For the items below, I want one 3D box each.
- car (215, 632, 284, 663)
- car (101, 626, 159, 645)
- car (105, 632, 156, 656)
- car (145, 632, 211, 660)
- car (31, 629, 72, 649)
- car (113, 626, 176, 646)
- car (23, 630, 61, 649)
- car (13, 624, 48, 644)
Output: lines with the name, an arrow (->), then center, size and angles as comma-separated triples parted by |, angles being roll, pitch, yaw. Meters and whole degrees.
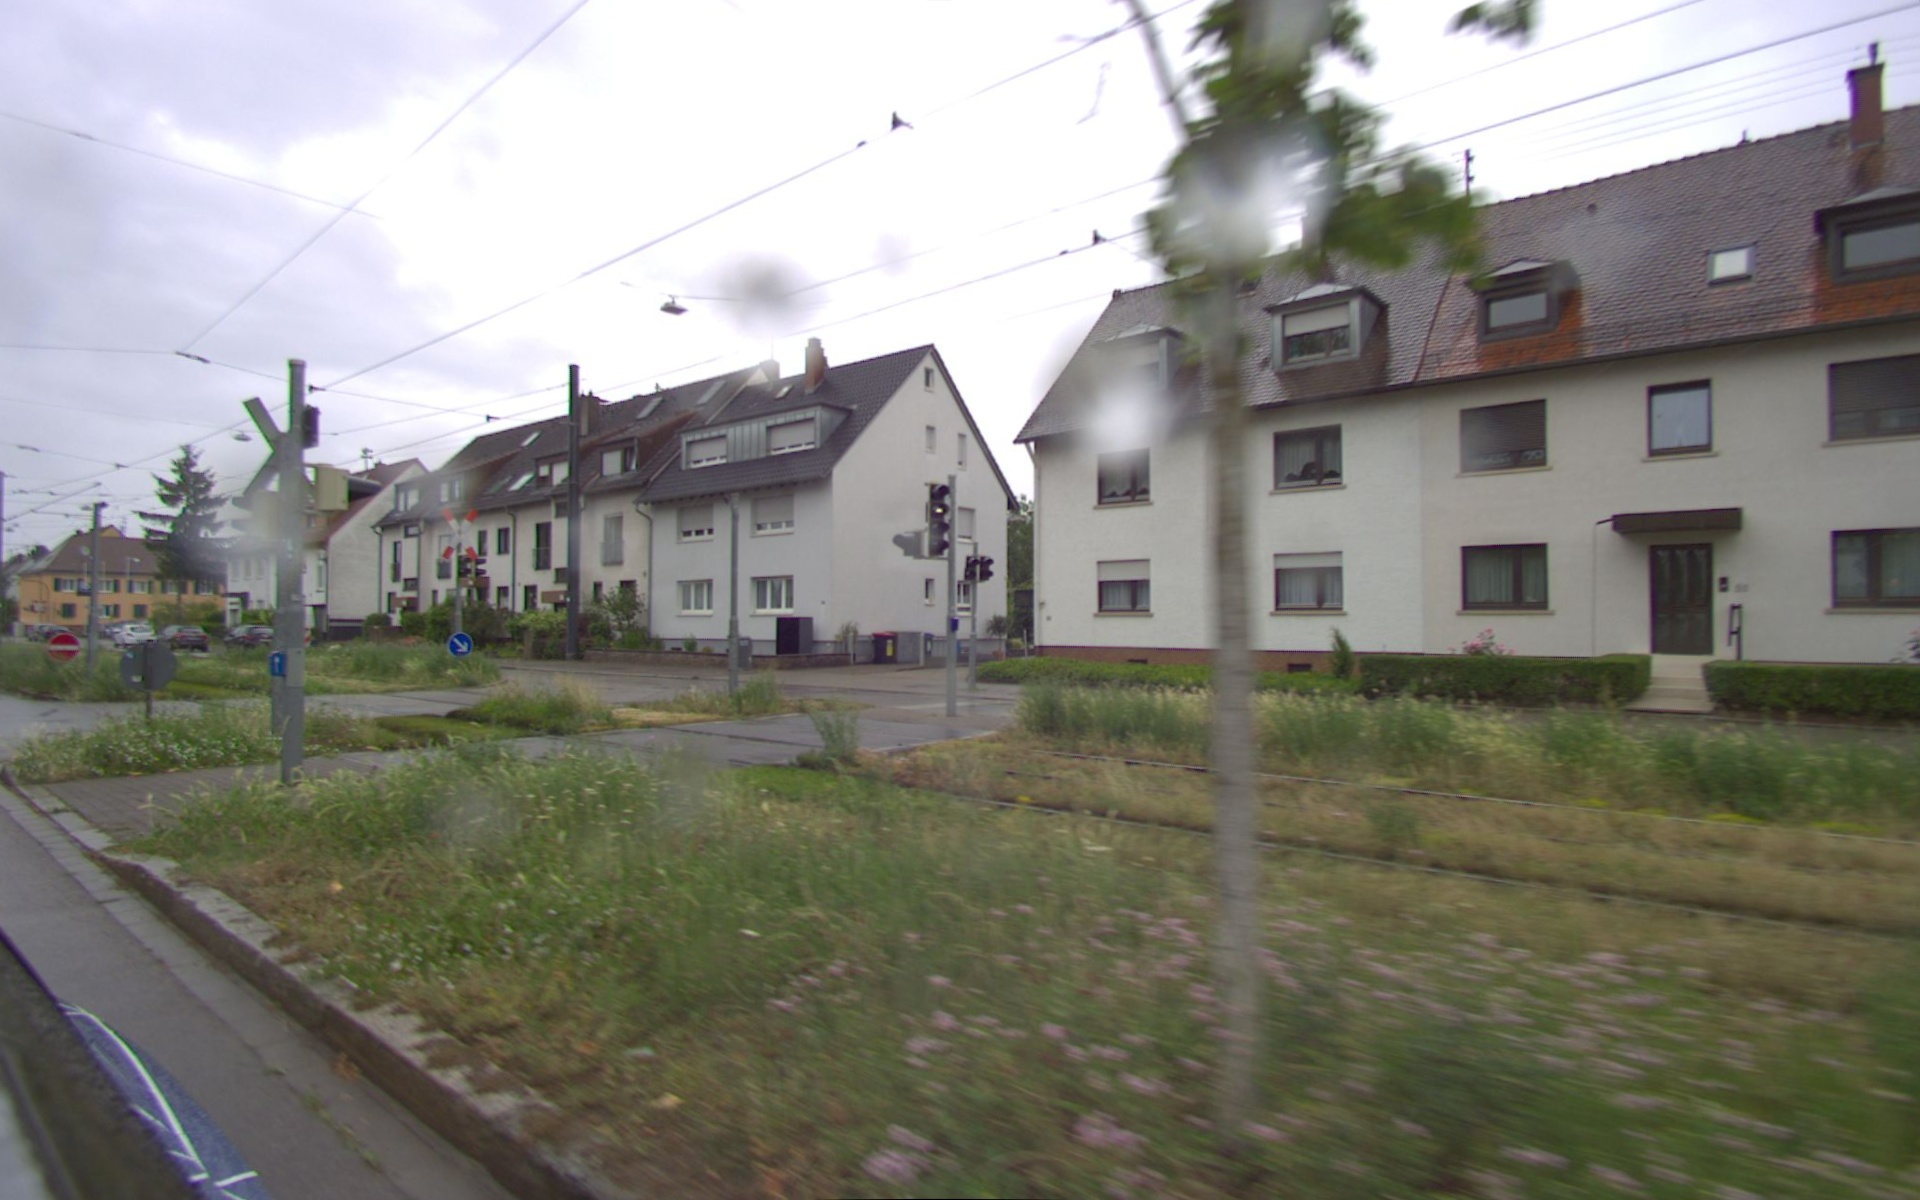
car -> -34.387, 2.266, 48.959 | 3.934, 1.437, 1.755 | -2, -3, 40
car -> -74.573, 3.206, 91.019 | 3.935, 1.607, 1.918 | 0, -2, -37
car -> -52.650, 2.781, 64.237 | 3.995, 1.451, 1.694 | -2, -3, 39
car -> -44.103, 2.568, 57.048 | 4.751, 1.543, 1.868 | -2, -3, 39
car -> -73.758, 3.190, 82.162 | 3.997, 1.602, 1.888 | -1, -3, 40
car -> -69.887, 3.088, 86.749 | 1.913, 1.607, 3.945 | -2, -2, 41
car -> -77.308, 3.311, 85.207 | 3.997, 1.541, 1.858 | -1, -3, 40
car -> -83.847, 3.053, 91.273 | 3.999, 1.670, 1.972 | -1, -1, 42
